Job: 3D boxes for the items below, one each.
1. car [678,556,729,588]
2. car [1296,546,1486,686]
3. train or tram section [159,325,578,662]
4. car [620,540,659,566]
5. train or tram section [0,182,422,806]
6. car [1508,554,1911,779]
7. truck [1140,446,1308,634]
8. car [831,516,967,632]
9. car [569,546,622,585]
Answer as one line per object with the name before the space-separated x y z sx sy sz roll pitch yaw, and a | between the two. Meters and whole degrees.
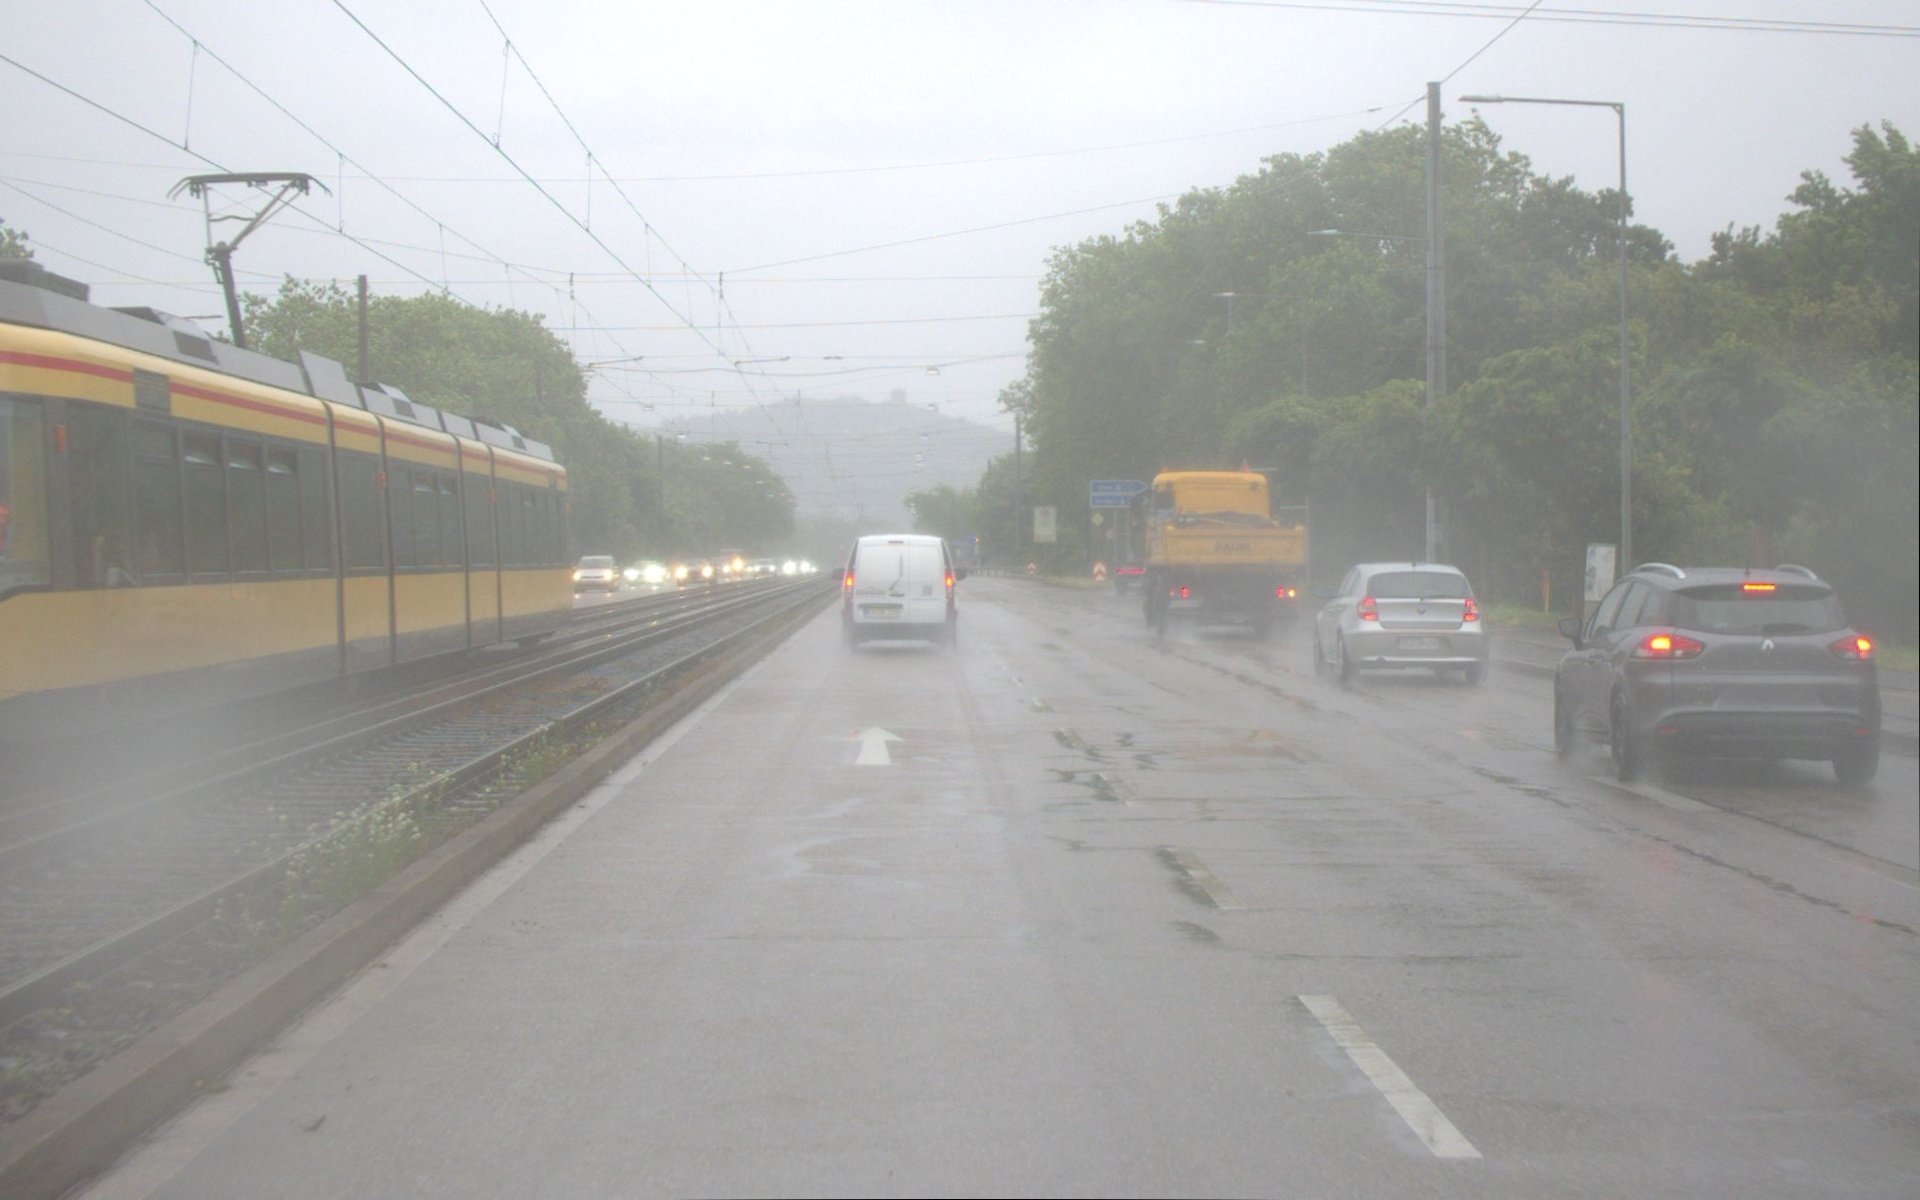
car | -13.161 -1.468 176.867 1.993 1.459 5.251 -2 2 2
car | 5.156 0.148 41.599 1.626 1.498 4.606 1 2 -1
train or tram section | -7.664 -1.477 47.995 2.886 3.693 19.532 1 2 -1
car | -17.548 -2.581 188.287 1.757 1.358 5.072 1 2 -1
train or tram section | -7.235 -0.915 29.294 2.864 3.693 17.892 1 2 -1
car | 5.161 0.399 24.257 1.888 1.352 4.277 1 2 0
truck | 4.791 -1.147 63.523 2.555 3.246 6.933 1 2 0
car | -0.906 -0.431 53.092 1.989 1.678 3.740 1 2 0
car | -15.960 -1.514 150.725 1.842 1.568 5.067 1 2 -1
